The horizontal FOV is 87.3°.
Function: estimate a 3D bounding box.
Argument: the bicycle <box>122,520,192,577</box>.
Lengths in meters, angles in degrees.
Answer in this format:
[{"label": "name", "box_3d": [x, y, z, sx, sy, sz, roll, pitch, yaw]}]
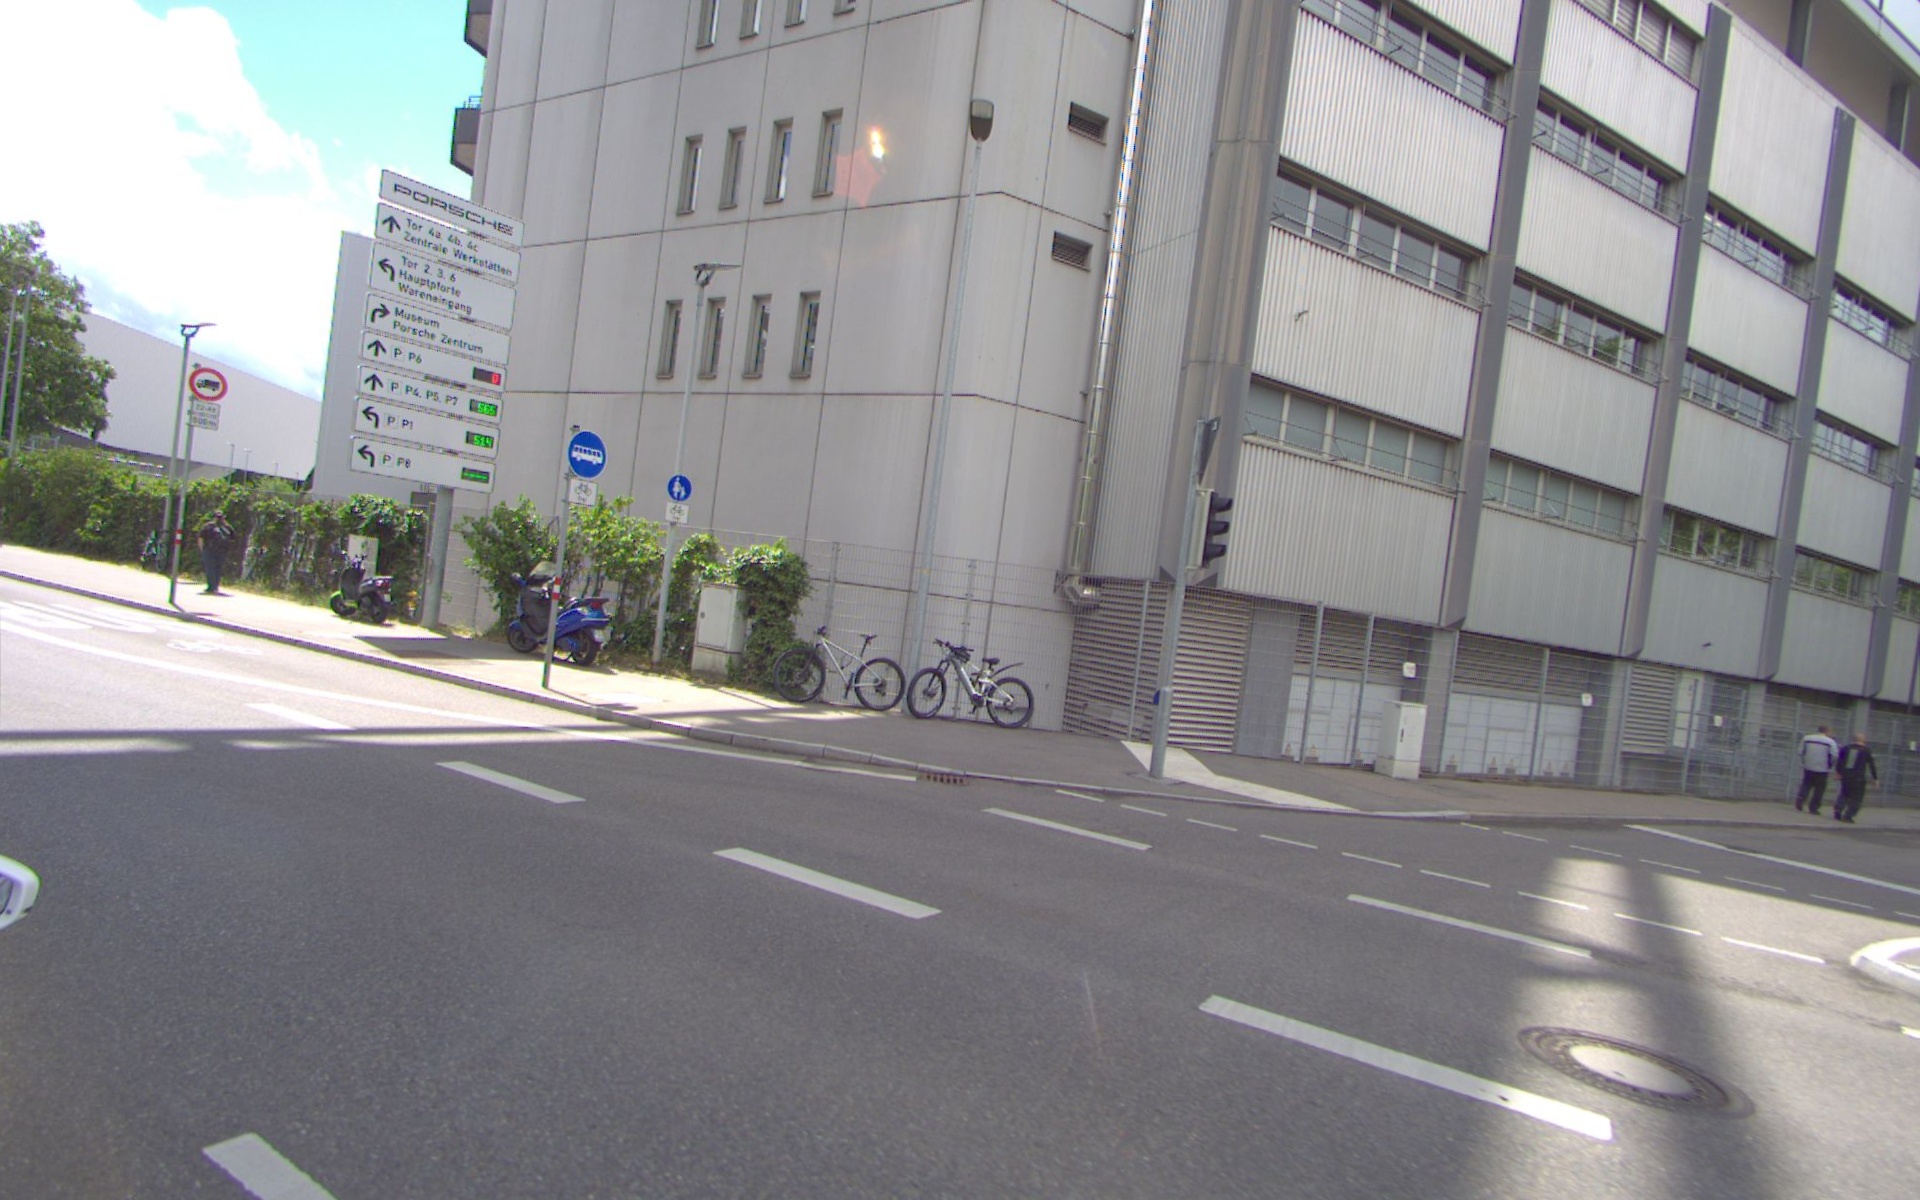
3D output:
[{"label": "bicycle", "box_3d": [-19.688, -1.284, 24.651, 2.428, 1.194, 0.444, 6, -1, 32]}]

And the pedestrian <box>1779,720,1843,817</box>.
[{"label": "pedestrian", "box_3d": [16.874, 3.336, 19.949, 0.737, 1.801, 0.632, 7, -1, -30]}]

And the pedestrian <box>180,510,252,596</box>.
[{"label": "pedestrian", "box_3d": [-15.551, -0.969, 21.028, 0.981, 1.666, 0.810, 6, 2, 30]}]

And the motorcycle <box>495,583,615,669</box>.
[{"label": "motorcycle", "box_3d": [-6.307, 0.387, 15.615, 2.003, 1.081, 0.591, 7, 2, 32]}]

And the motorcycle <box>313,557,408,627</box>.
[{"label": "motorcycle", "box_3d": [-11.165, -0.161, 18.705, 2.003, 1.081, 0.591, 7, 1, 32]}]

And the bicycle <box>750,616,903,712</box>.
[{"label": "bicycle", "box_3d": [-1.852, 0.899, 14.047, 1.944, 1.143, 0.542, 6, 2, -24]}]

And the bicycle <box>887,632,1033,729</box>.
[{"label": "bicycle", "box_3d": [0.002, 1.133, 14.041, 1.862, 1.142, 0.542, 7, 1, -24]}]

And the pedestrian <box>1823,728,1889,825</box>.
[{"label": "pedestrian", "box_3d": [17.237, 3.387, 19.349, 0.737, 1.743, 0.613, 7, -1, -30]}]
